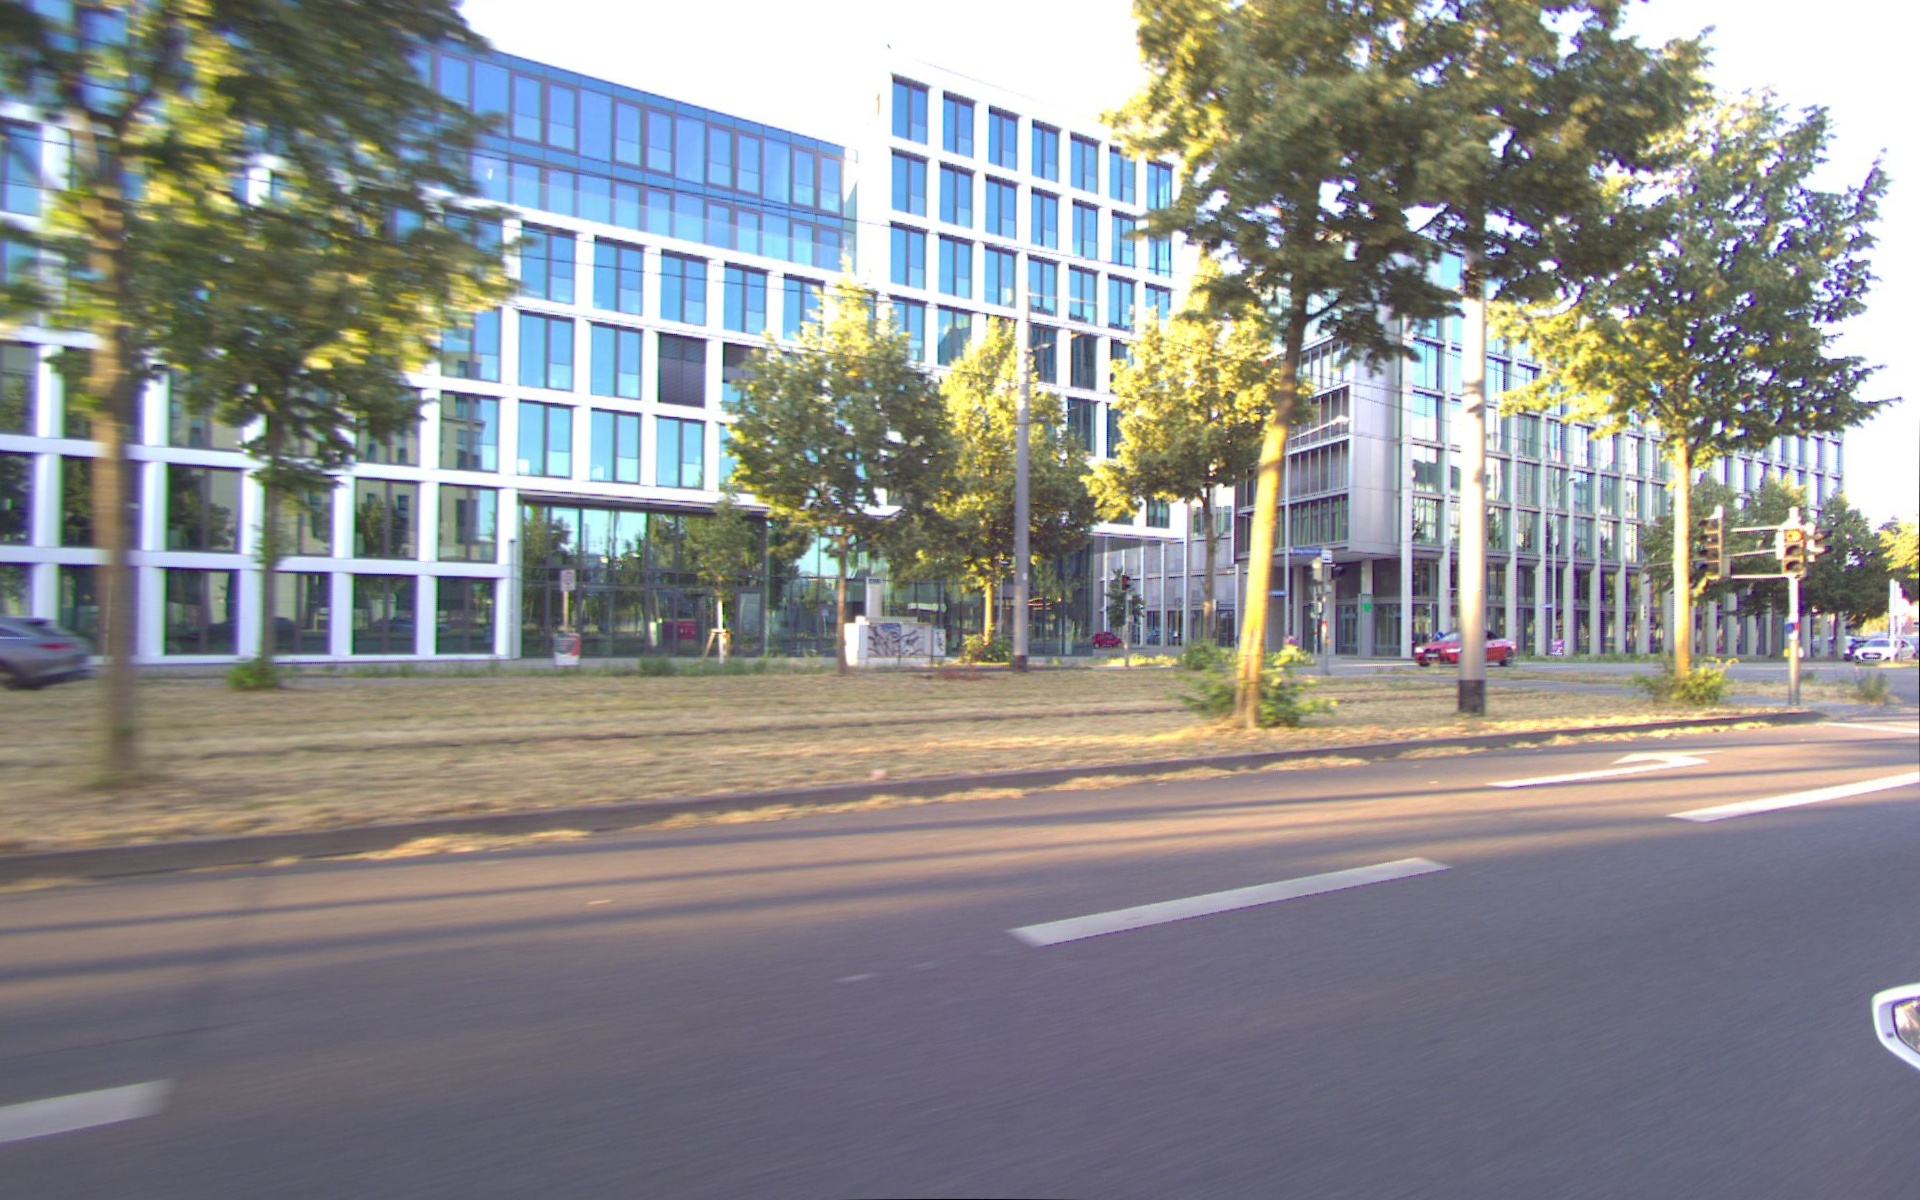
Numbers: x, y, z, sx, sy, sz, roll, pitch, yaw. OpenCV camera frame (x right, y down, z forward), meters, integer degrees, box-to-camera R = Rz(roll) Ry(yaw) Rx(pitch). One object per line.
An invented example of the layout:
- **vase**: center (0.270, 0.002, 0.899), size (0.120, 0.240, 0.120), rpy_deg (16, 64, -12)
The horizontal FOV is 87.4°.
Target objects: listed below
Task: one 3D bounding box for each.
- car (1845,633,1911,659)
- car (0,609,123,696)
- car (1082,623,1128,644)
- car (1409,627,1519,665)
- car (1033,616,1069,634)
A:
- **car**: center (49.819, 2.470, 54.504), size (3.630, 1.350, 1.777), rpy_deg (1, -1, -32)
- **car**: center (-16.277, 0.807, 15.805), size (4.533, 1.350, 1.648), rpy_deg (1, -1, -32)
- **car**: center (14.077, 3.259, 97.340), size (3.936, 2.040, 1.993), rpy_deg (1, -1, -17)
- **car**: center (19.051, 1.700, 37.938), size (4.477, 1.350, 1.648), rpy_deg (1, -1, -32)
- **car**: center (10.220, 2.798, 112.599), size (3.920, 2.040, 2.001), rpy_deg (0, -1, 3)
